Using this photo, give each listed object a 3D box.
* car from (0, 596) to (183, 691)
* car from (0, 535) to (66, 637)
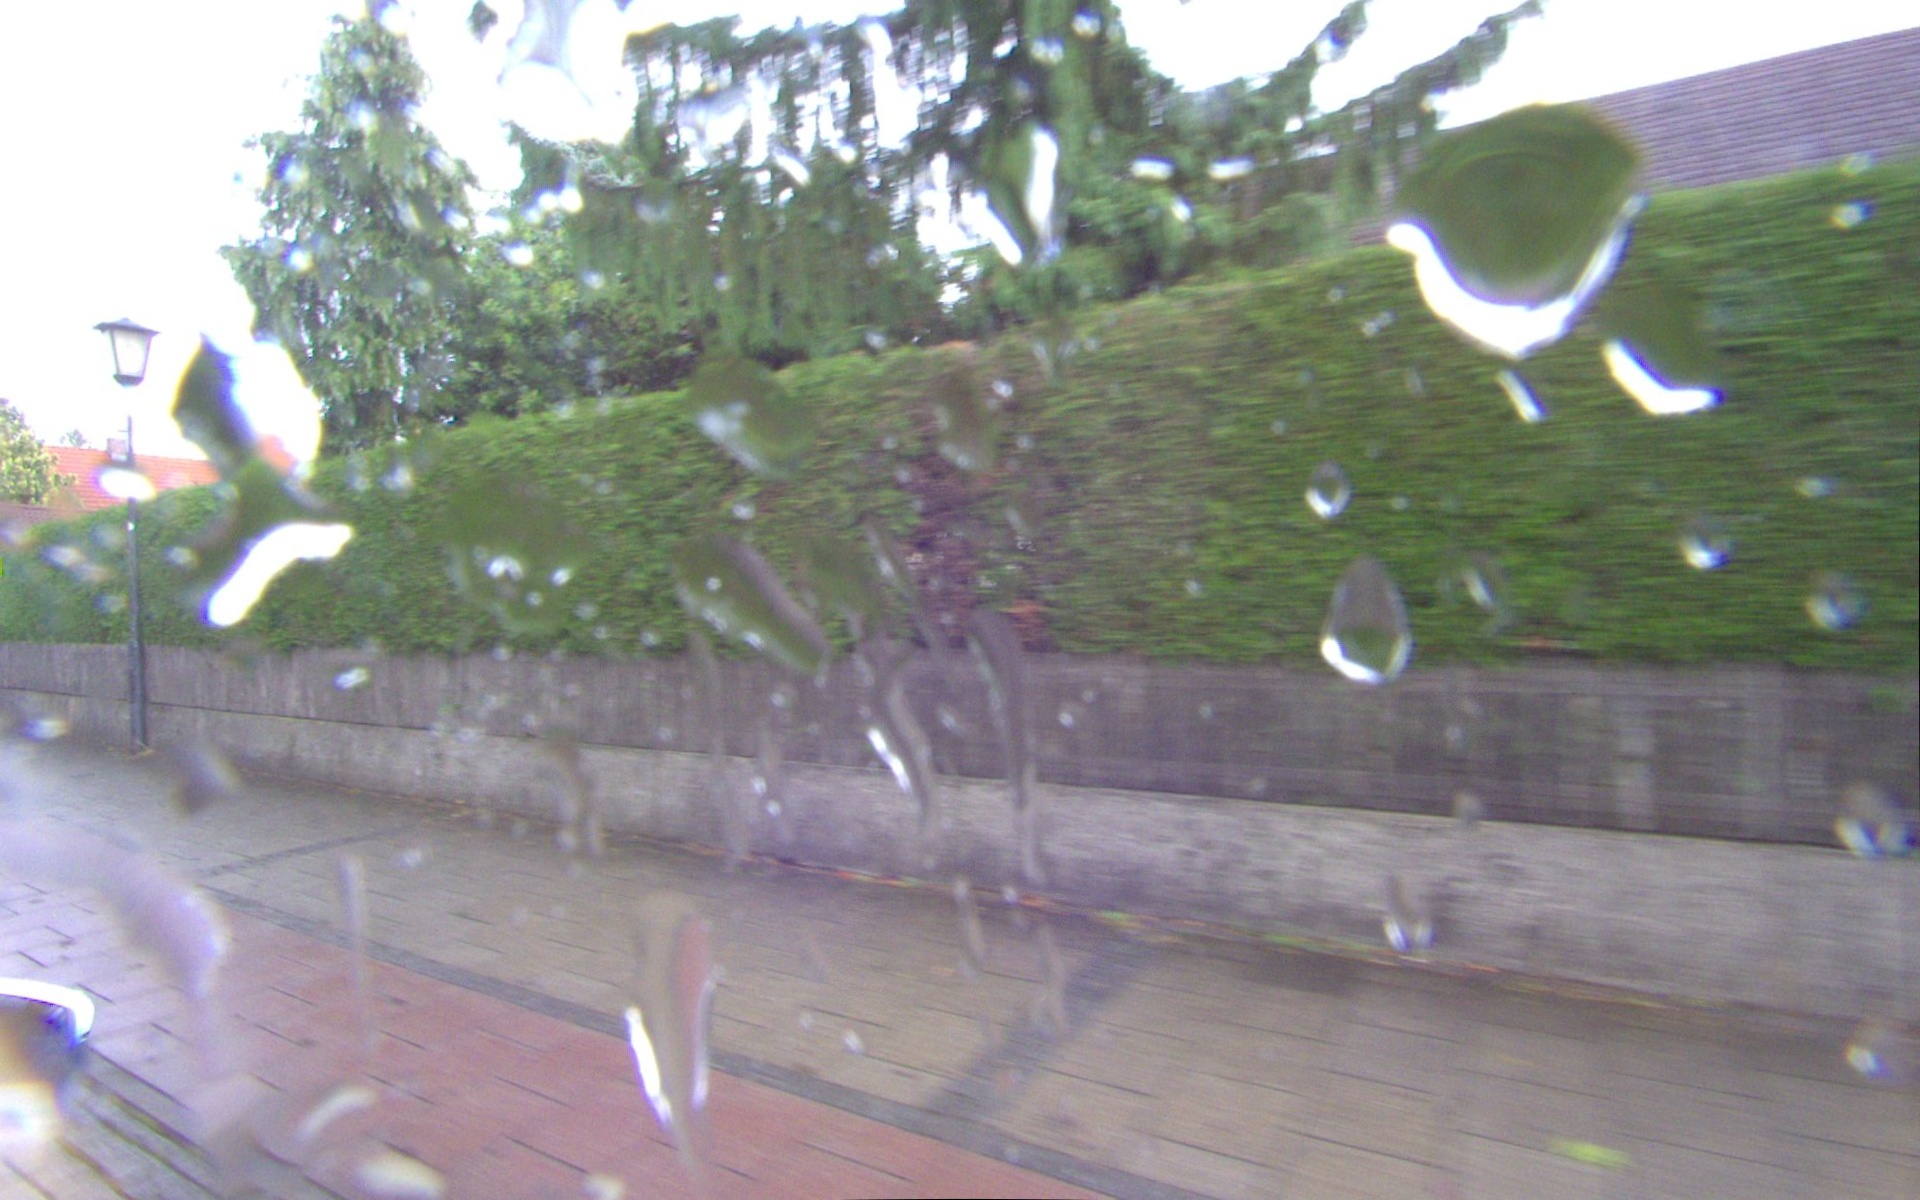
[{"bbox_3d":[-18.653,0.842,20.436,1.669,1.776,4.087,2,1,30],"label":"car"},{"bbox_3d":[-23.088,-0.248,22.839,4.867,2.201,1.996,-1,-2,21],"label":"car"}]
